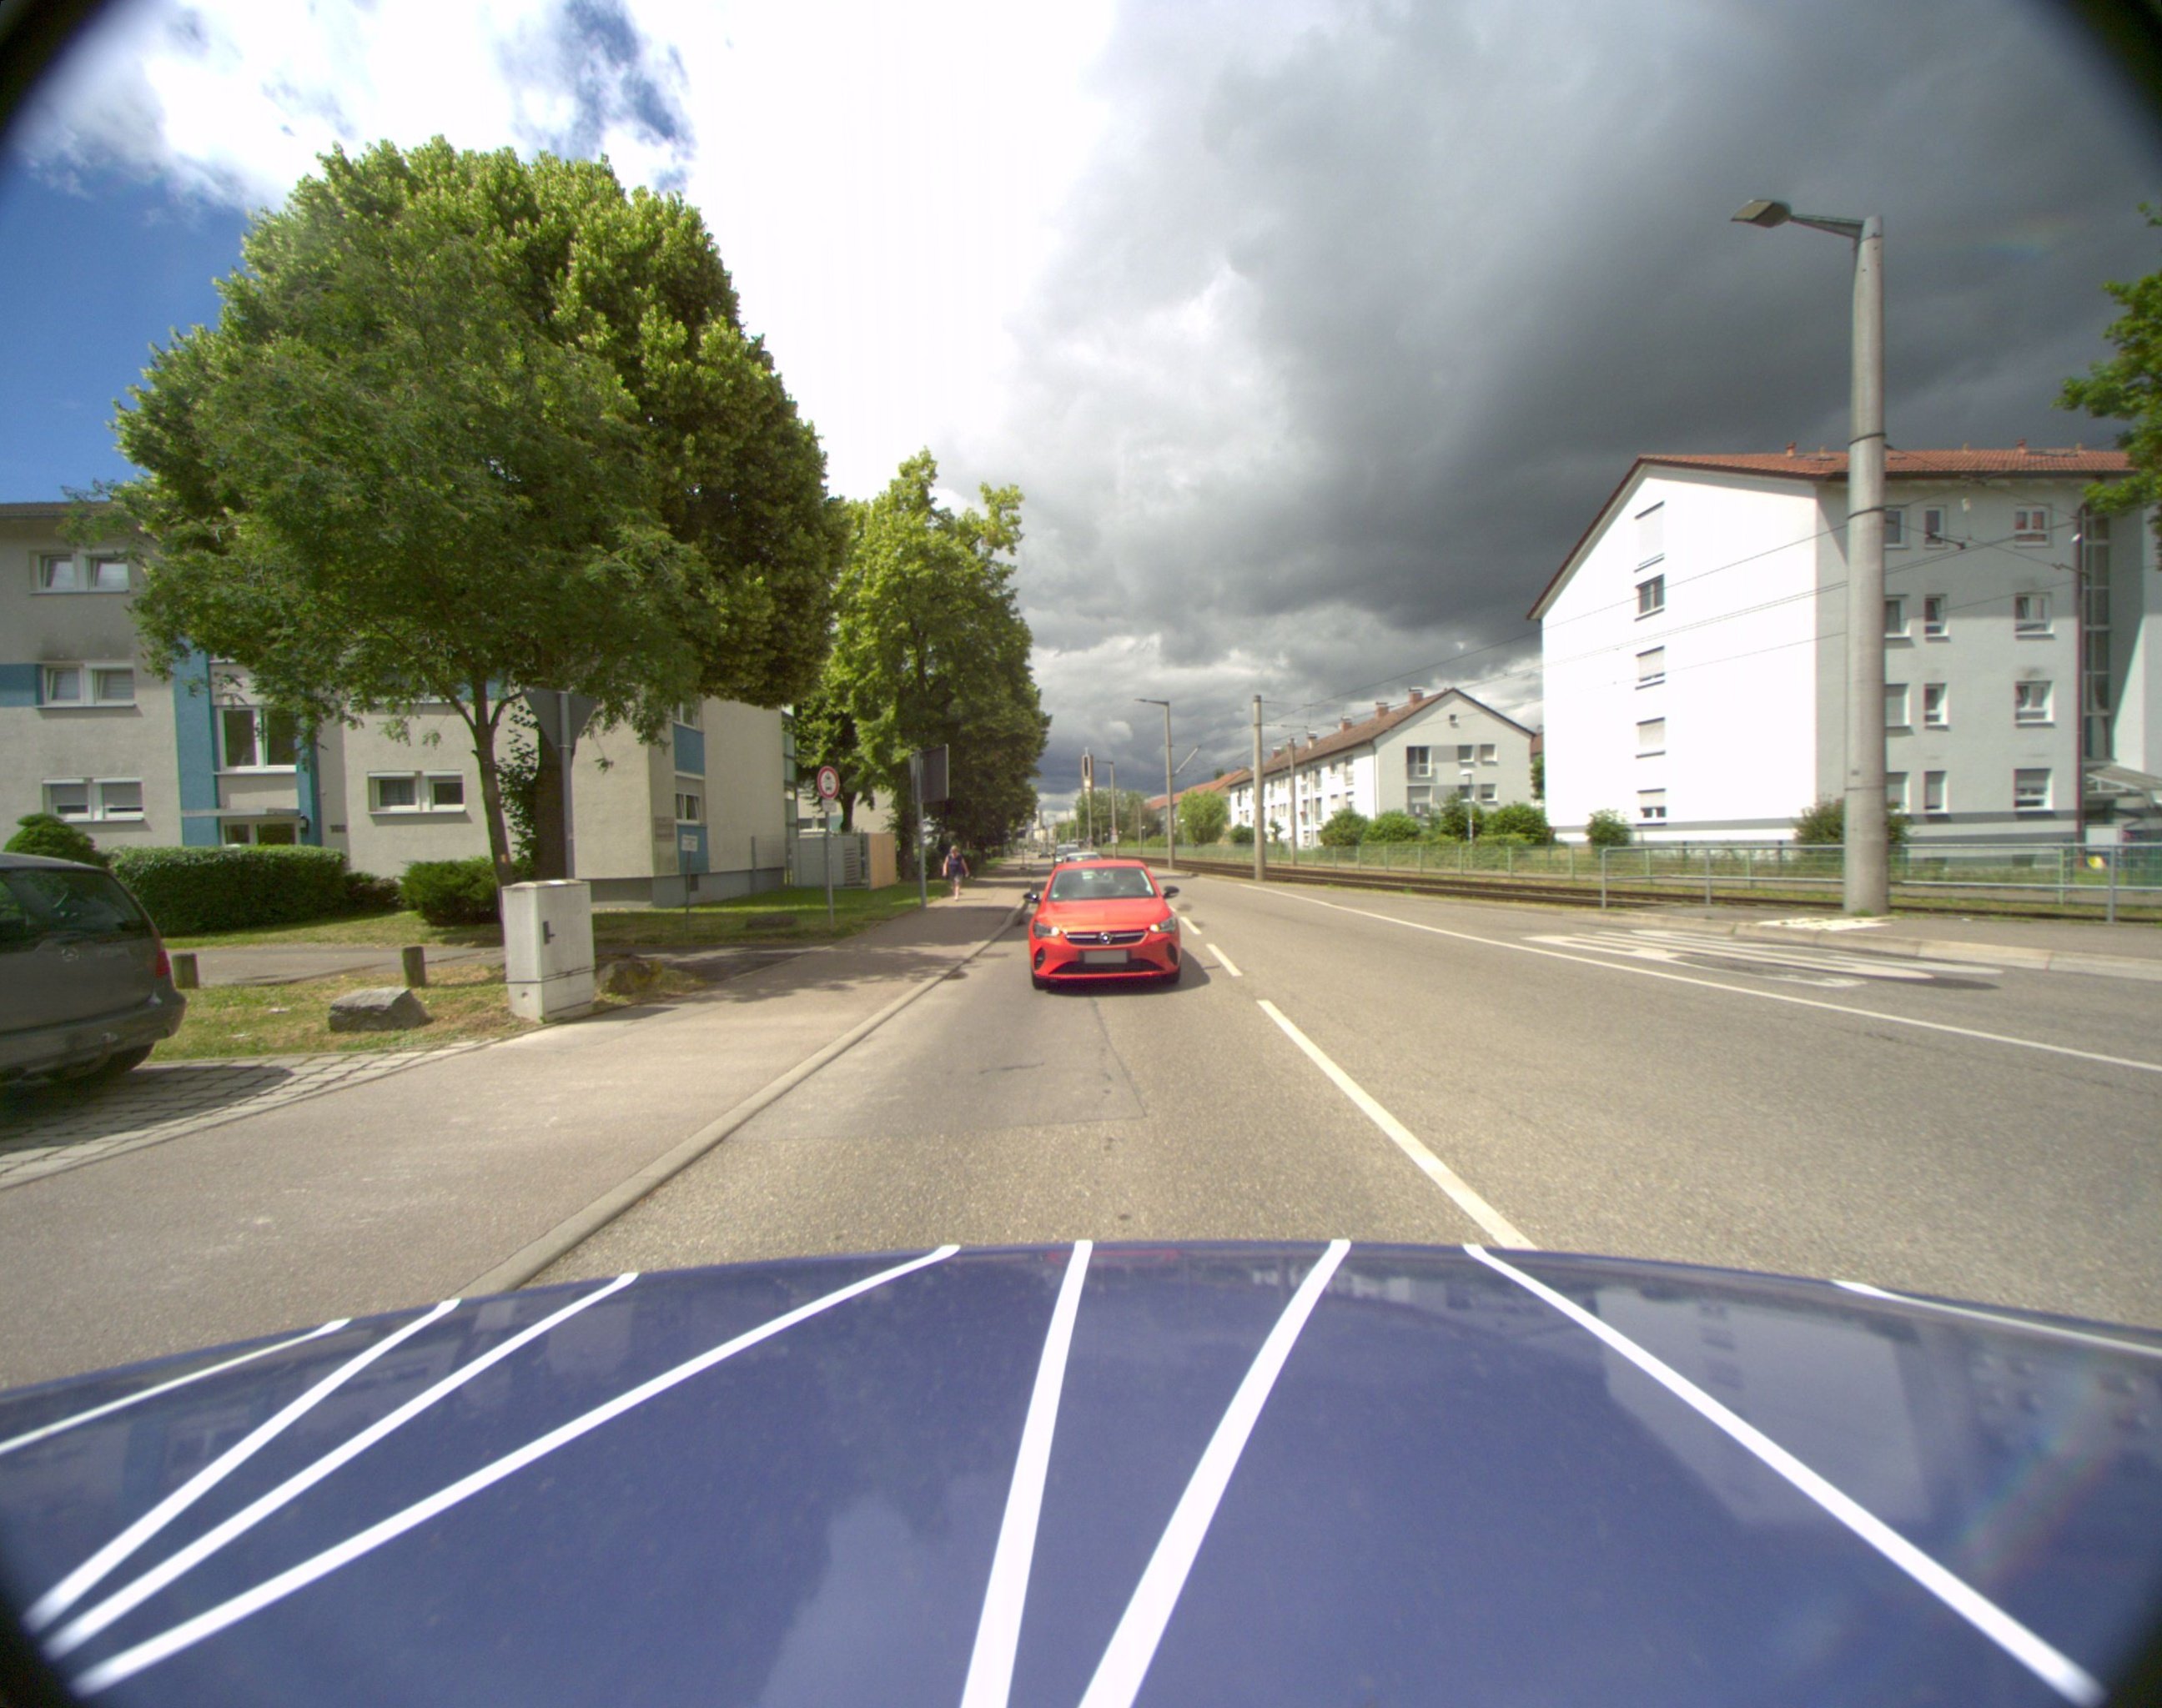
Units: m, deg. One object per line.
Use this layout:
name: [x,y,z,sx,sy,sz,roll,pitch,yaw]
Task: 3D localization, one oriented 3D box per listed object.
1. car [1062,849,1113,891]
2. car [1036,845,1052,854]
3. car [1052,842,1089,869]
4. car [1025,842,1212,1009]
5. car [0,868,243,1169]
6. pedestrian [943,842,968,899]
car: [0.274,0.546,28.520,1.763,1.390,3.999,-1,1,1]
car: [-5.620,-0.723,115.331,1.918,1.309,4.001,-1,1,4]
car: [-0.703,0.046,48.429,1.999,1.598,3.997,-1,1,-5]
car: [0.237,0.674,9.495,1.766,1.549,3.997,-2,2,-5]
car: [-7.620,0.865,4.059,3.742,1.548,2.030,1,0,-11]
pedestrian: [-3.685,0.463,22.381,0.684,1.651,0.831,-1,1,-9]
